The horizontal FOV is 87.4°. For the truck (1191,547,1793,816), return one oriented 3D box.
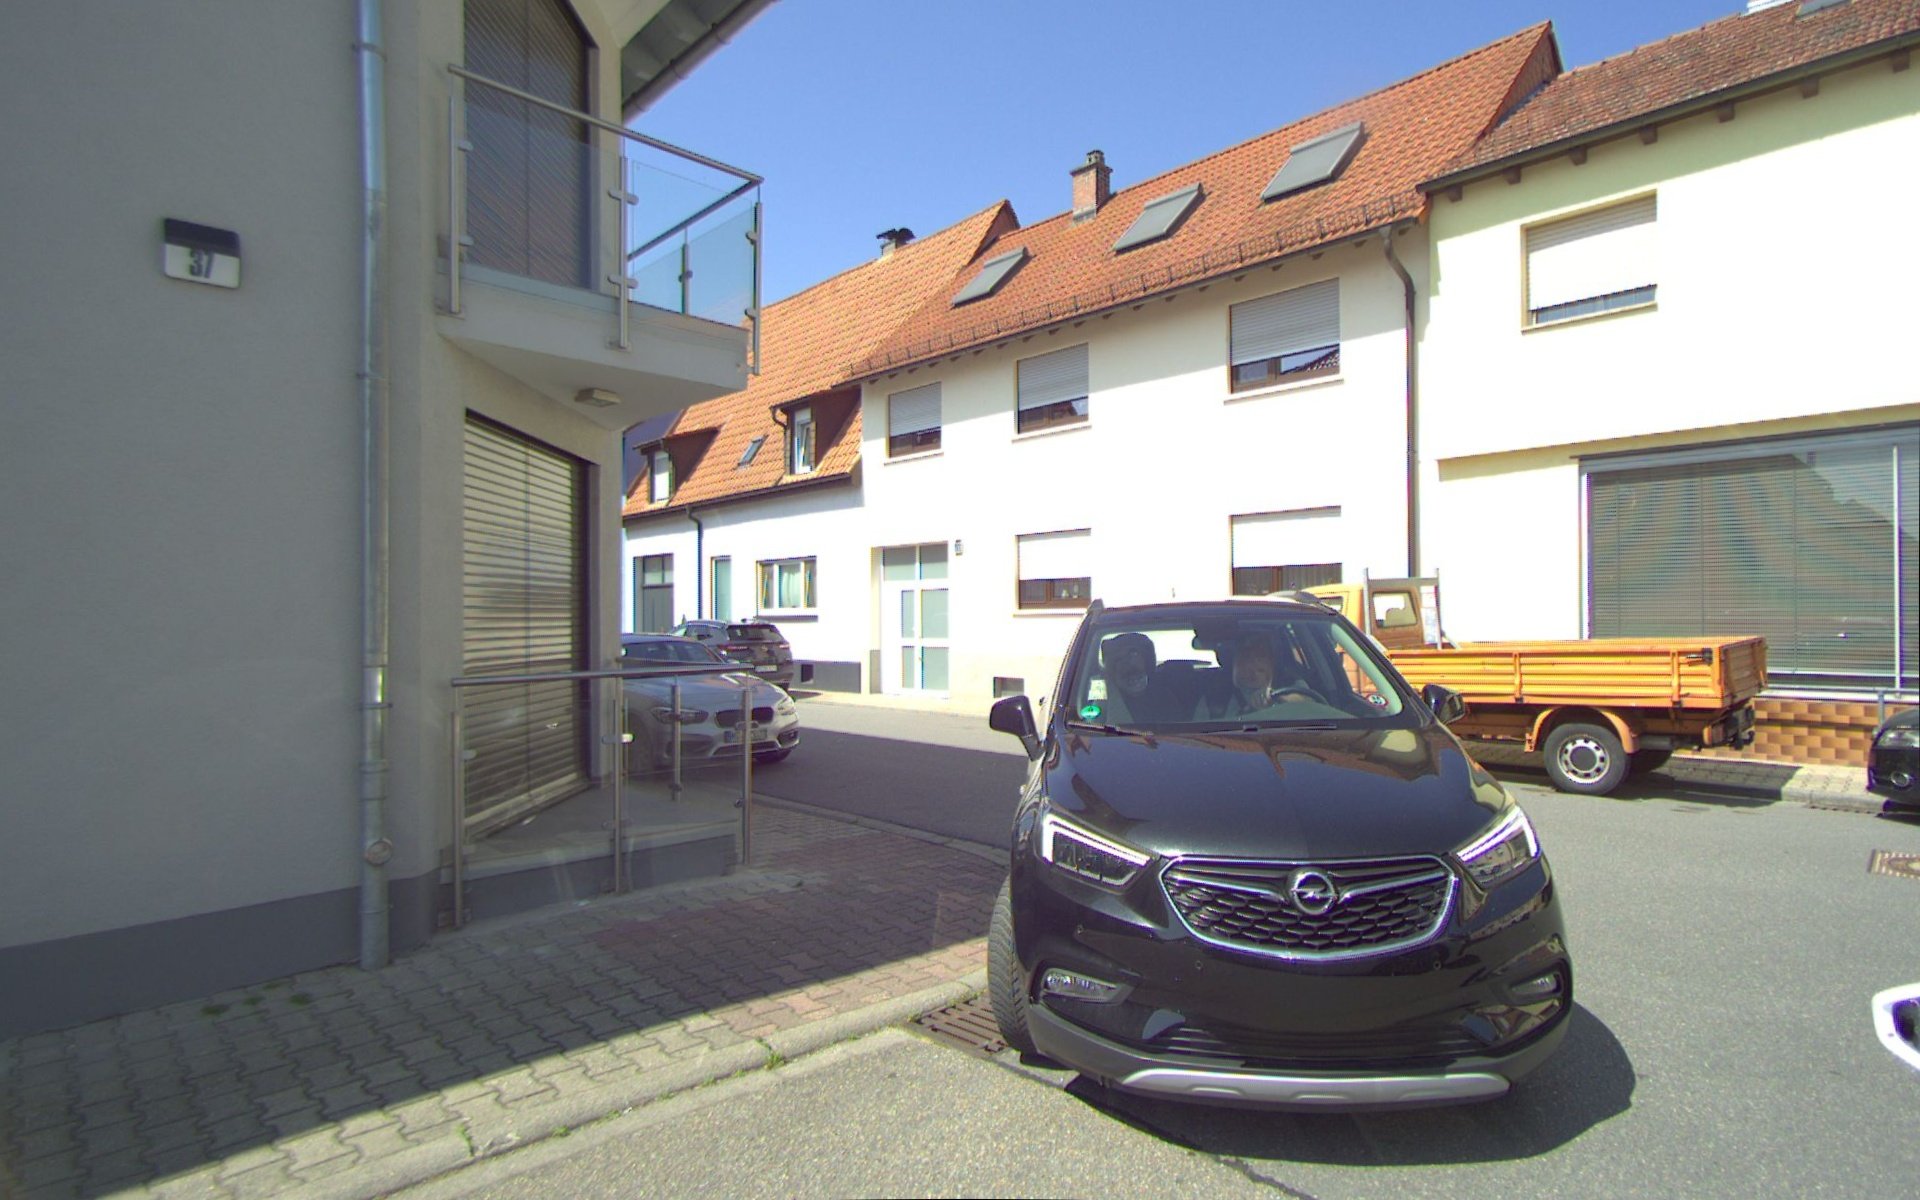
[{"bbox_3d":[5.086,0.658,10.228,2.174,2.040,5.016,1,-1,-42],"label":"truck"}]

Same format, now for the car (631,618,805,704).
[{"bbox_3d":[-5.163,1.209,21.182,1.838,1.635,3.948,1,-2,-44],"label":"car"}]

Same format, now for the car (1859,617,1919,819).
[{"bbox_3d":[8.747,0.861,6.277,1.916,1.412,4.571,5,-4,-44],"label":"car"}]

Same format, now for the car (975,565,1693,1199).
[{"bbox_3d":[1.174,0.792,4.699,1.727,1.604,4.283,-2,-1,7],"label":"car"}]

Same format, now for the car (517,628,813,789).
[{"bbox_3d":[-3.450,1.065,11.322,1.627,1.387,3.878,-2,1,-43],"label":"car"}]
